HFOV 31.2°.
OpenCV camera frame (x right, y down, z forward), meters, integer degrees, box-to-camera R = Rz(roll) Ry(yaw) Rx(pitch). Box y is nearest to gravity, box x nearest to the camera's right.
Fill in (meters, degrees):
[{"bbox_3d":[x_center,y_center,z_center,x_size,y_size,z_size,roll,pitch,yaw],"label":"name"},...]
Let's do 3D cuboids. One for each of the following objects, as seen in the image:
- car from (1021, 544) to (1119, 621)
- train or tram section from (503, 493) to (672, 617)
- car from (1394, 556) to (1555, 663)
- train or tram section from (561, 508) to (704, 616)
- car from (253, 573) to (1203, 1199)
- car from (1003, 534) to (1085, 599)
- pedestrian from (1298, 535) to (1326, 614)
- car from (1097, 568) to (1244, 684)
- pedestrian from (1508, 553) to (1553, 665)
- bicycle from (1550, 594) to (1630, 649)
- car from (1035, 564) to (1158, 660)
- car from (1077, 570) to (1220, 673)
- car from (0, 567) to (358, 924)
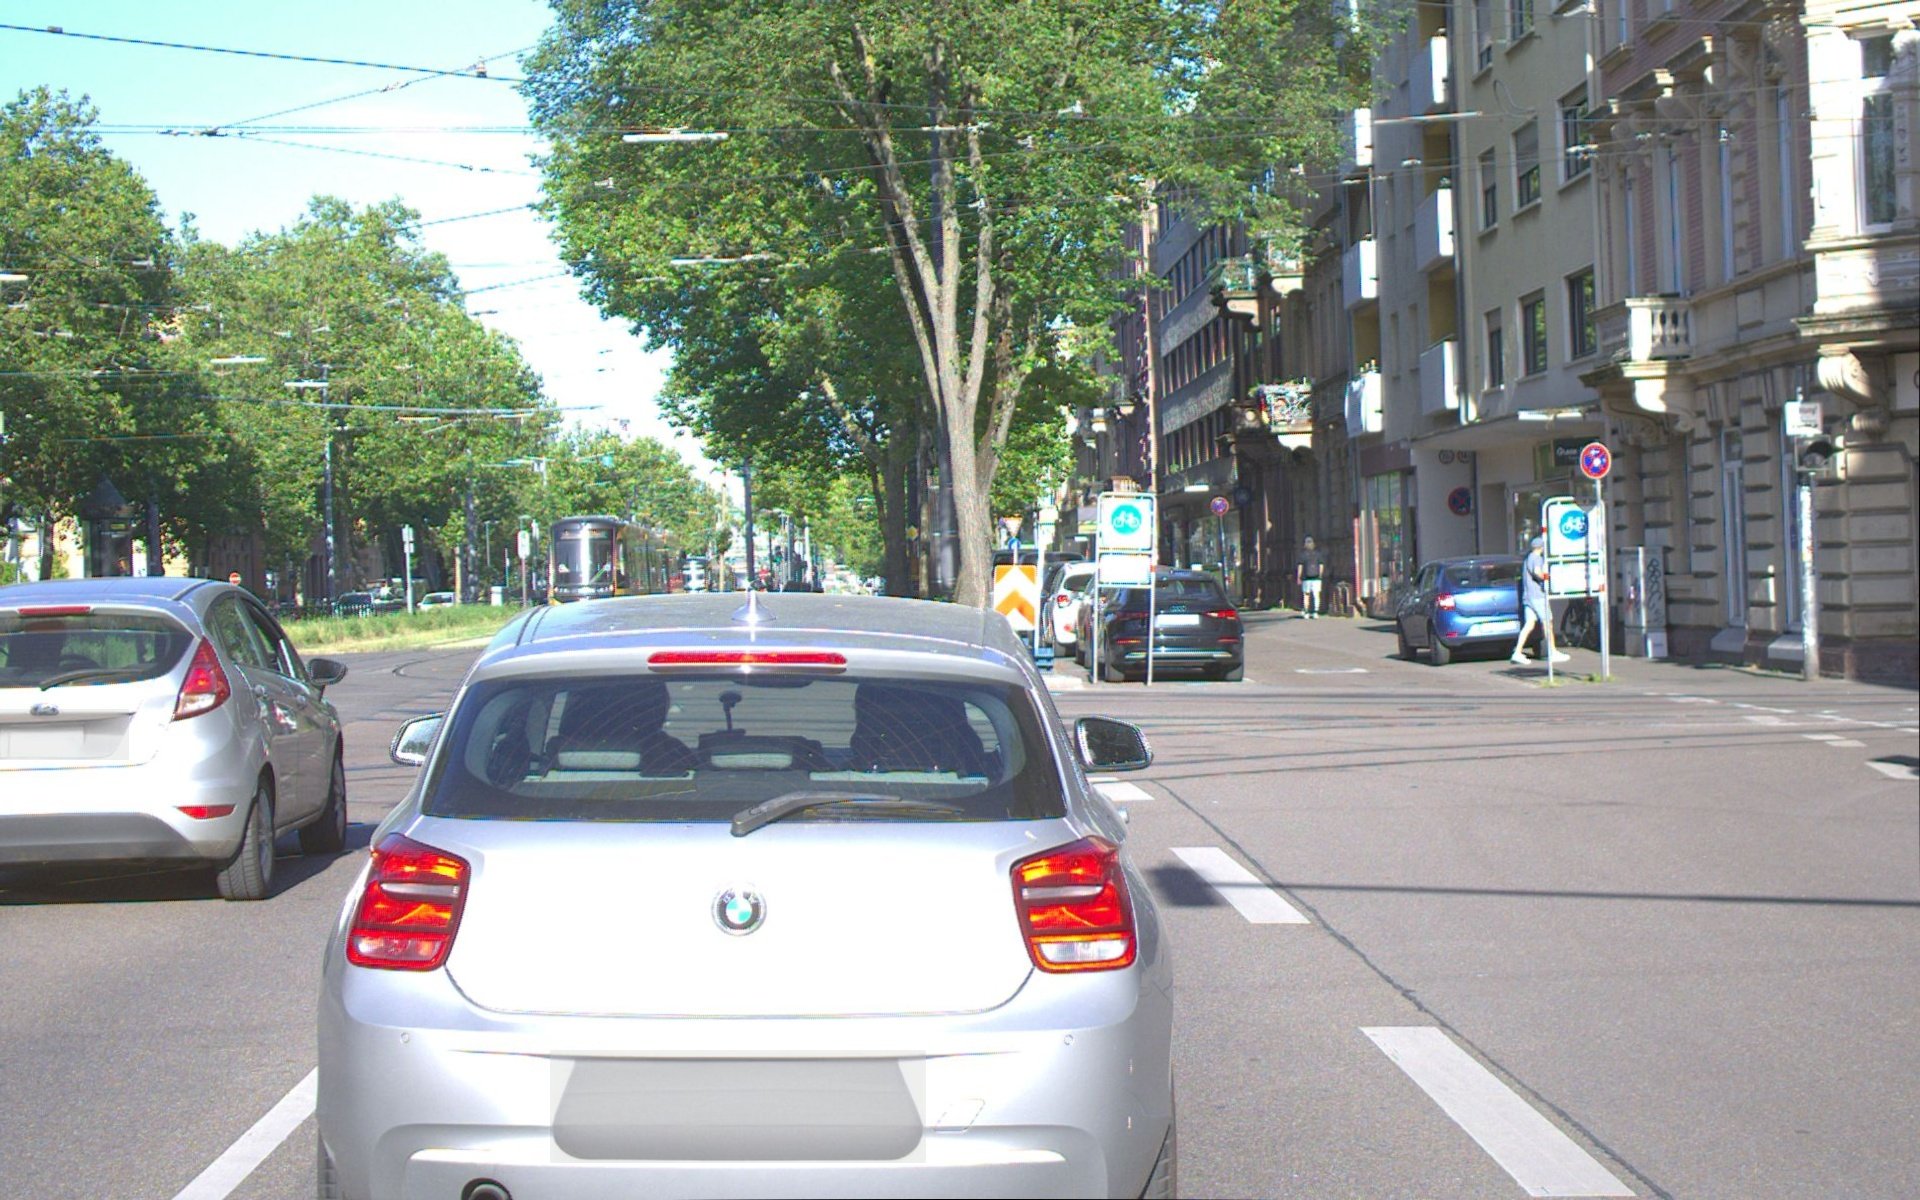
[{"bbox_3d":[2.165,-0.357,68.583,1.724,1.502,3.555,0,1,-2],"label":"car"},{"bbox_3d":[-12.439,-1.516,116.847,3.969,3.852,17.489,-1,1,-1],"label":"train or tram section"},{"bbox_3d":[7.527,0.120,50.590,1.735,1.514,3.637,0,1,-1],"label":"car"},{"bbox_3d":[-12.615,-1.486,134.215,4.005,3.852,17.489,-1,1,-1],"label":"train or tram section"},{"bbox_3d":[-0.455,0.677,8.320,1.740,1.462,4.000,0,1,-1],"label":"car"},{"bbox_3d":[1.953,-0.800,81.116,1.724,1.502,3.555,0,1,-2],"label":"car"},{"bbox_3d":[8.051,-0.585,78.682,0.505,1.796,0.805,-2,1,-1],"label":"pedestrian"},{"bbox_3d":[2.695,0.304,44.561,1.735,1.428,3.678,0,1,1],"label":"car"},{"bbox_3d":[8.027,0.125,48.351,0.557,1.552,0.389,-1,1,5],"label":"pedestrian"},{"bbox_3d":[9.306,0.307,50.820,0.754,0.768,1.945,-1,1,-2],"label":"bicycle"},{"bbox_3d":[2.183,0.176,55.820,1.724,1.502,3.555,0,1,-2],"label":"car"},{"bbox_3d":[2.690,0.283,49.696,1.743,1.428,3.555,0,1,-2],"label":"car"},{"bbox_3d":[-3.913,0.596,16.330,1.609,1.462,3.890,-1,1,-3],"label":"car"}]
